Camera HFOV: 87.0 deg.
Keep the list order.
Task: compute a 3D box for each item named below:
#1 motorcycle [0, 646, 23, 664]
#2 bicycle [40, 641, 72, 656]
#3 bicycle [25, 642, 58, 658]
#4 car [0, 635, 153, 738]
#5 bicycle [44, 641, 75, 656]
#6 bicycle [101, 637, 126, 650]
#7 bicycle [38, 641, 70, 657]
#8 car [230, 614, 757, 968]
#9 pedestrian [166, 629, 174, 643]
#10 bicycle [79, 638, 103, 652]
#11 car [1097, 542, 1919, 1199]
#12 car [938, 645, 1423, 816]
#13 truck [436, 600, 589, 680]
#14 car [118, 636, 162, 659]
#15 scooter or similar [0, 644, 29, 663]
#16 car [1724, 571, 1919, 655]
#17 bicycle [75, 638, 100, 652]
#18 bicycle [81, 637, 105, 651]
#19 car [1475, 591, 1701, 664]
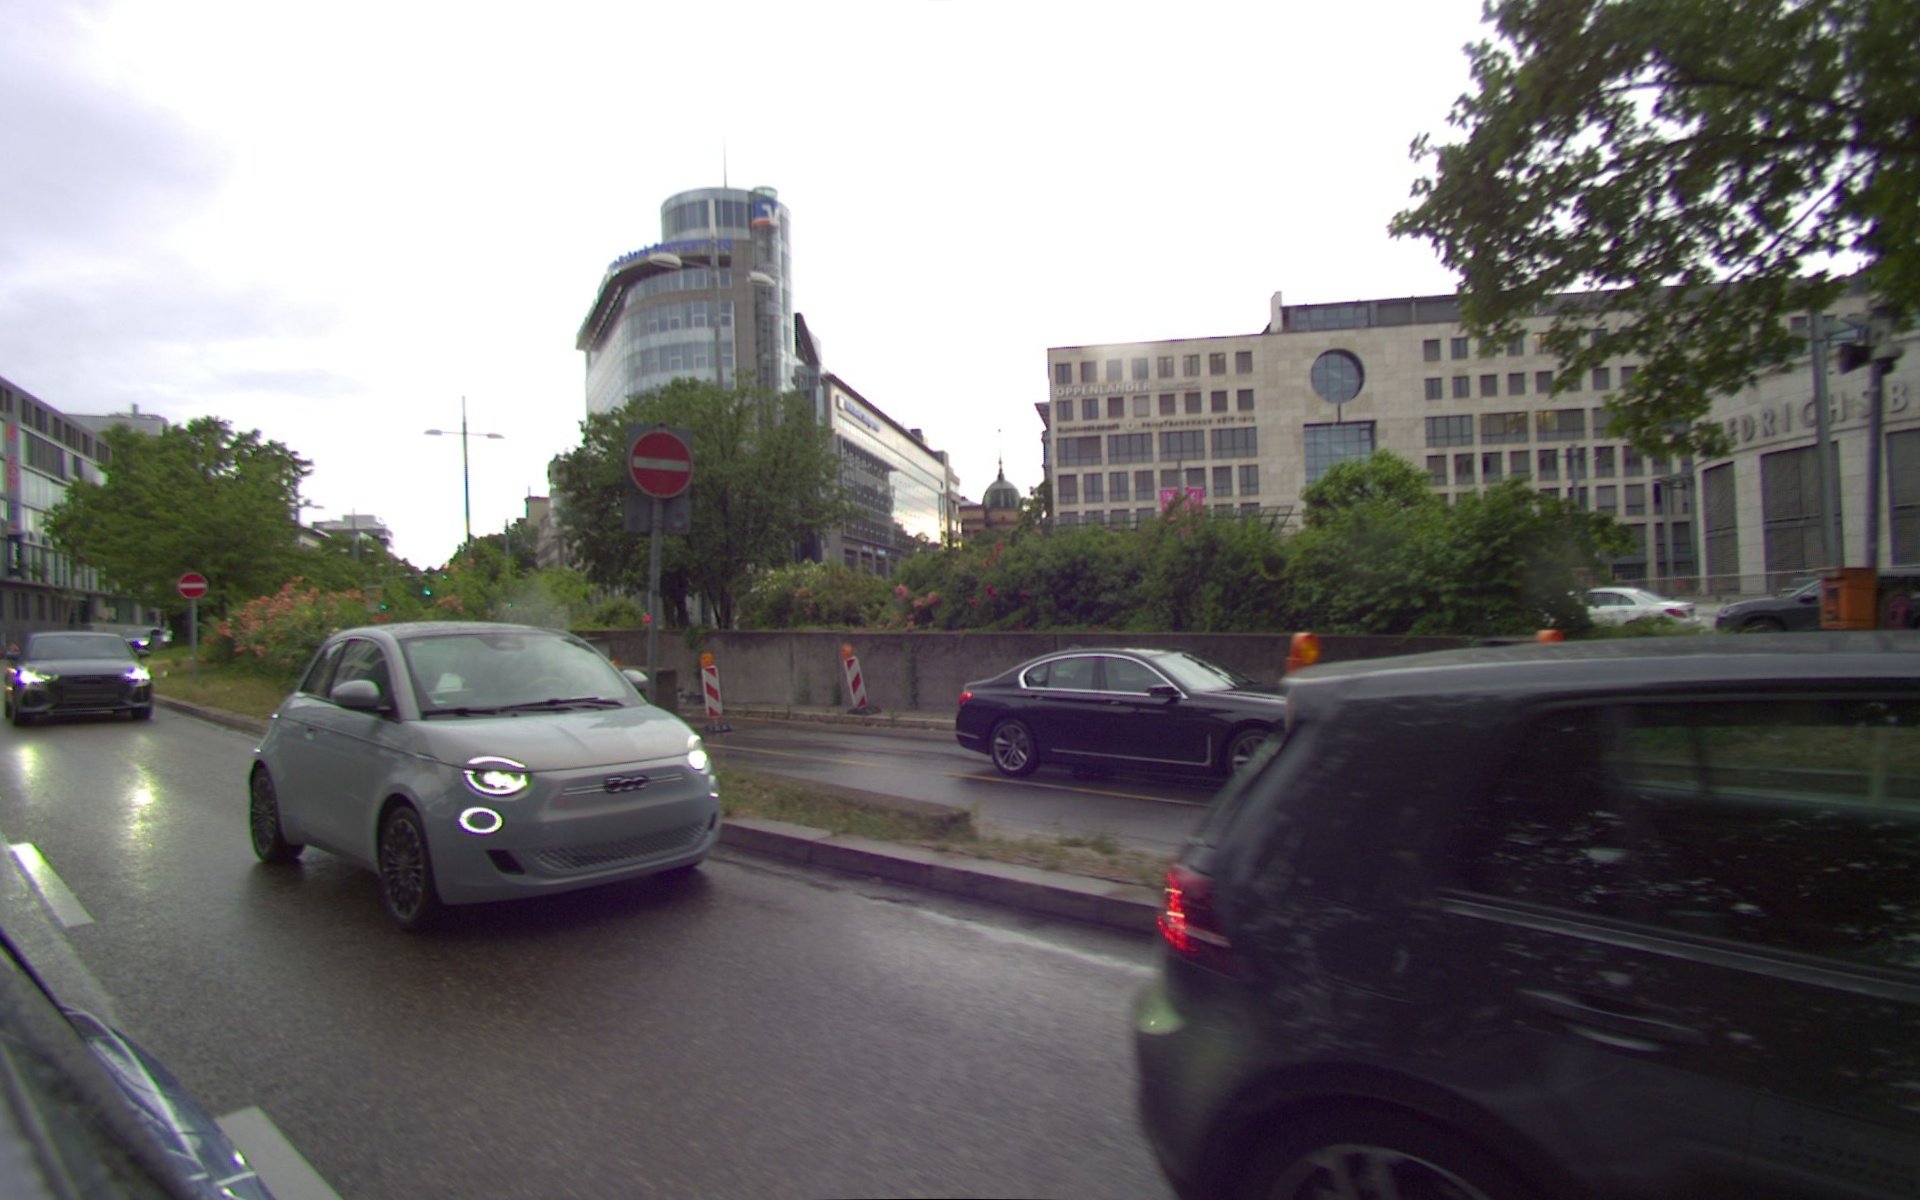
[{"bbox_3d":[-68.325,3.944,72.378,1.767,1.148,0.598,-3,1,-31],"label":"motorcycle"},{"bbox_3d":[-72.893,3.904,81.624,1.769,1.076,0.558,-3,1,-30],"label":"bicycle"},{"bbox_3d":[-71.985,3.890,79.311,1.770,1.116,0.672,-3,1,-31],"label":"bicycle"},{"bbox_3d":[-15.911,1.442,18.094,1.839,1.529,4.347,-2,-1,-45],"label":"car"},{"bbox_3d":[-73.254,3.914,82.312,1.769,1.076,0.558,-3,1,-30],"label":"bicycle"},{"bbox_3d":[-77.637,3.992,92.807,1.706,1.149,0.691,-1,-1,-32],"label":"bicycle"},{"bbox_3d":[-72.566,3.909,81.047,1.769,1.076,0.558,-3,1,-30],"label":"bicycle"},{"bbox_3d":[-2.935,0.875,6.068,3.503,1.502,1.573,-2,-3,41],"label":"car"},{"bbox_3d":[-107.290,4.934,137.496,0.711,1.844,0.749,0,-1,-28],"label":"pedestrian"},{"bbox_3d":[-75.888,3.896,88.373,1.513,1.149,0.691,-2,1,-32],"label":"bicycle"},{"bbox_3d":[2.371,0.658,1.261,4.127,1.474,1.673,-2,-3,41],"label":"car"},{"bbox_3d":[2.234,1.320,11.361,5.076,1.502,1.741,-4,-4,40],"label":"car"},{"bbox_3d":[-16.489,1.394,36.905,3.323,2.529,8.495,-1,-1,-36],"label":"truck"},{"bbox_3d":[-59.466,3.416,73.454,1.769,1.521,4.514,-2,0,-30],"label":"car"},{"bbox_3d":[-68.749,3.886,73.301,1.767,1.252,0.598,-3,1,-31],"label":"scooter or similar"},{"bbox_3d":[18.779,0.254,20.946,1.639,1.652,4.504,-1,0,-44],"label":"car"},{"bbox_3d":[-75.557,3.892,87.630,1.513,1.149,0.664,-2,0,-32],"label":"bicycle"},{"bbox_3d":[-76.280,3.904,89.054,1.513,1.149,0.691,-2,1,-32],"label":"bicycle"},{"bbox_3d":[15.563,0.666,25.270,1.639,1.652,4.505,-1,0,-43],"label":"car"}]
